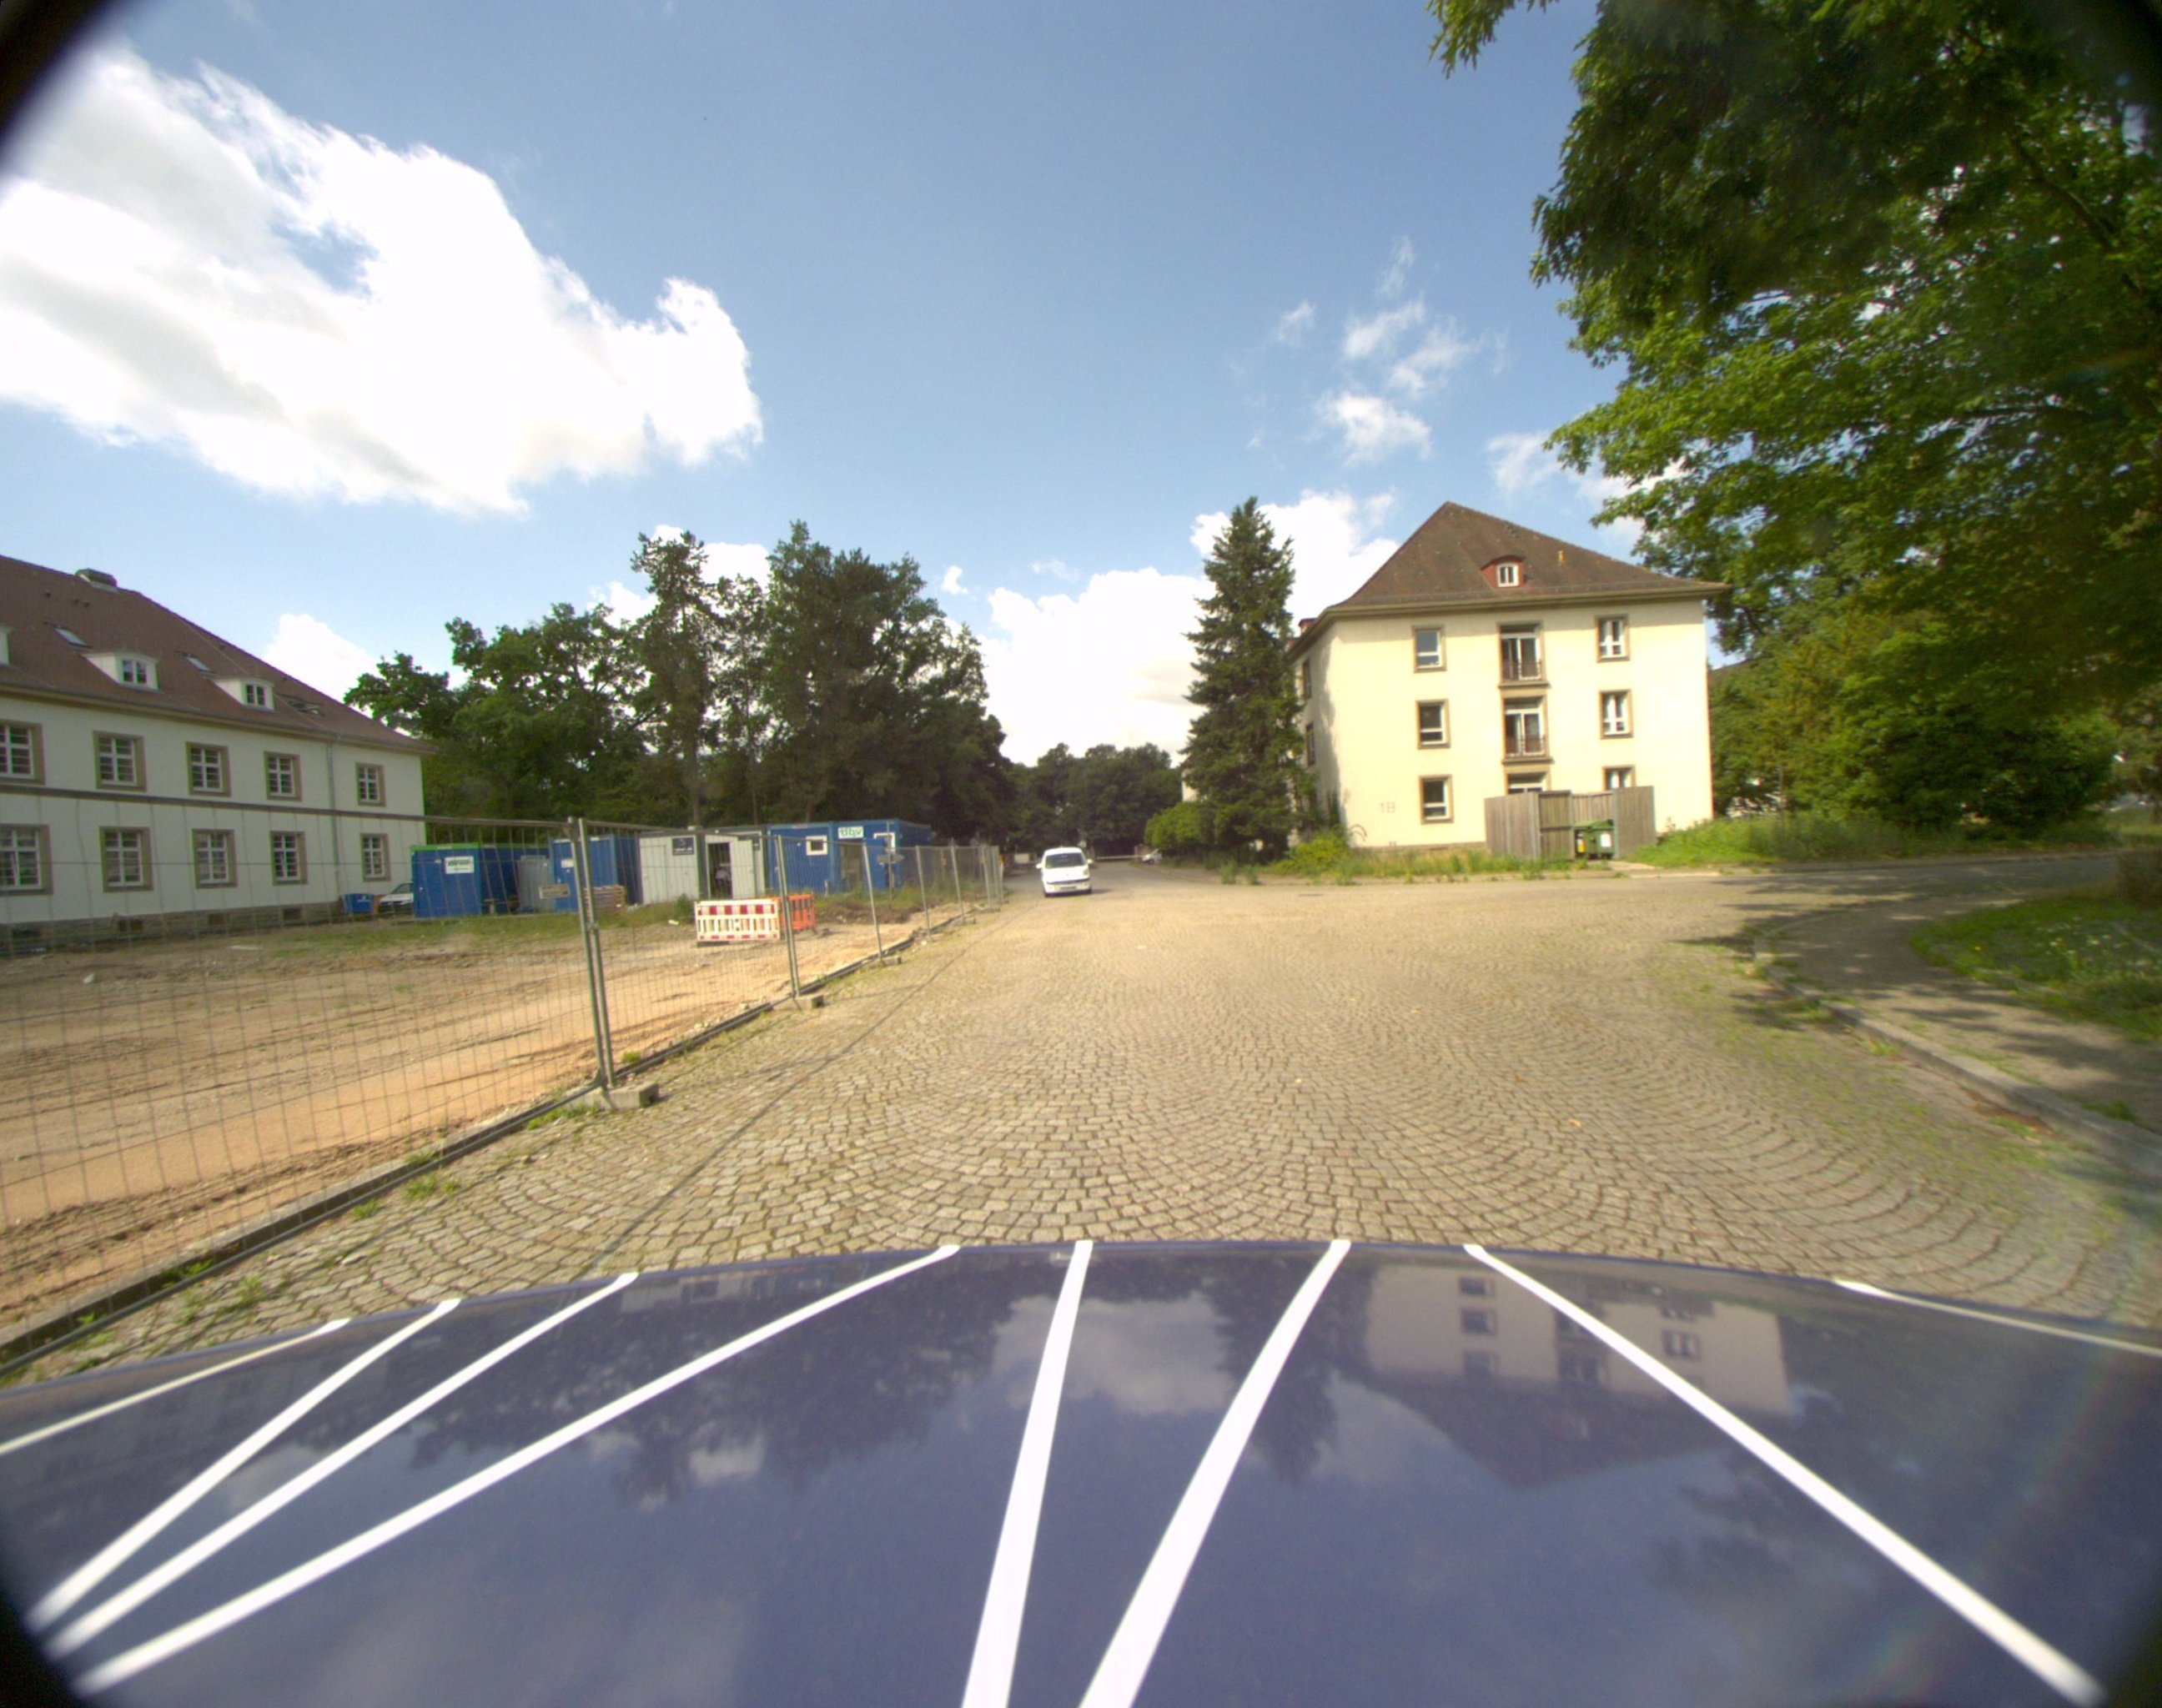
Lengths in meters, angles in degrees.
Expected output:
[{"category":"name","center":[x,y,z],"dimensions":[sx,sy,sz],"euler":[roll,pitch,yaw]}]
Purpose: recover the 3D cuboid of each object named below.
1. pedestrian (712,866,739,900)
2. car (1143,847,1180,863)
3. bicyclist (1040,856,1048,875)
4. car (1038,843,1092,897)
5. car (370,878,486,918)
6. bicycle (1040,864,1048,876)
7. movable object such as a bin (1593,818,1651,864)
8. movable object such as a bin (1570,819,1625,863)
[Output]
[{"category":"pedestrian","center":[-13.476,1.091,28.820],"dimensions":[0.602,1.236,0.682],"euler":[-3,1,0]},{"category":"car","center":[9.274,0.077,87.505],"dimensions":[4.083,1.634,1.767],"euler":[-3,1,1]},{"category":"bicyclist","center":[-3.417,1.075,70.179],"dimensions":[0.634,1.760,0.571],"euler":[-4,1,-1]},{"category":"car","center":[-0.625,0.604,29.659],"dimensions":[1.839,1.857,4.830],"euler":[-3,-1,-1]},{"category":"car","center":[-34.518,2.274,40.391],"dimensions":[1.884,1.718,4.708],"euler":[-3,1,2]},{"category":"bicycle","center":[-3.393,1.448,70.180],"dimensions":[0.634,0.990,1.557],"euler":[-4,1,0]},{"category":"movable object such as a bin","center":[18.809,-0.452,26.438],"dimensions":[1.172,1.522,1.152],"euler":[-3,1,-2]},{"category":"movable object such as a bin","center":[18.778,-0.479,27.632],"dimensions":[1.172,1.522,1.152],"euler":[-3,1,-2]}]
